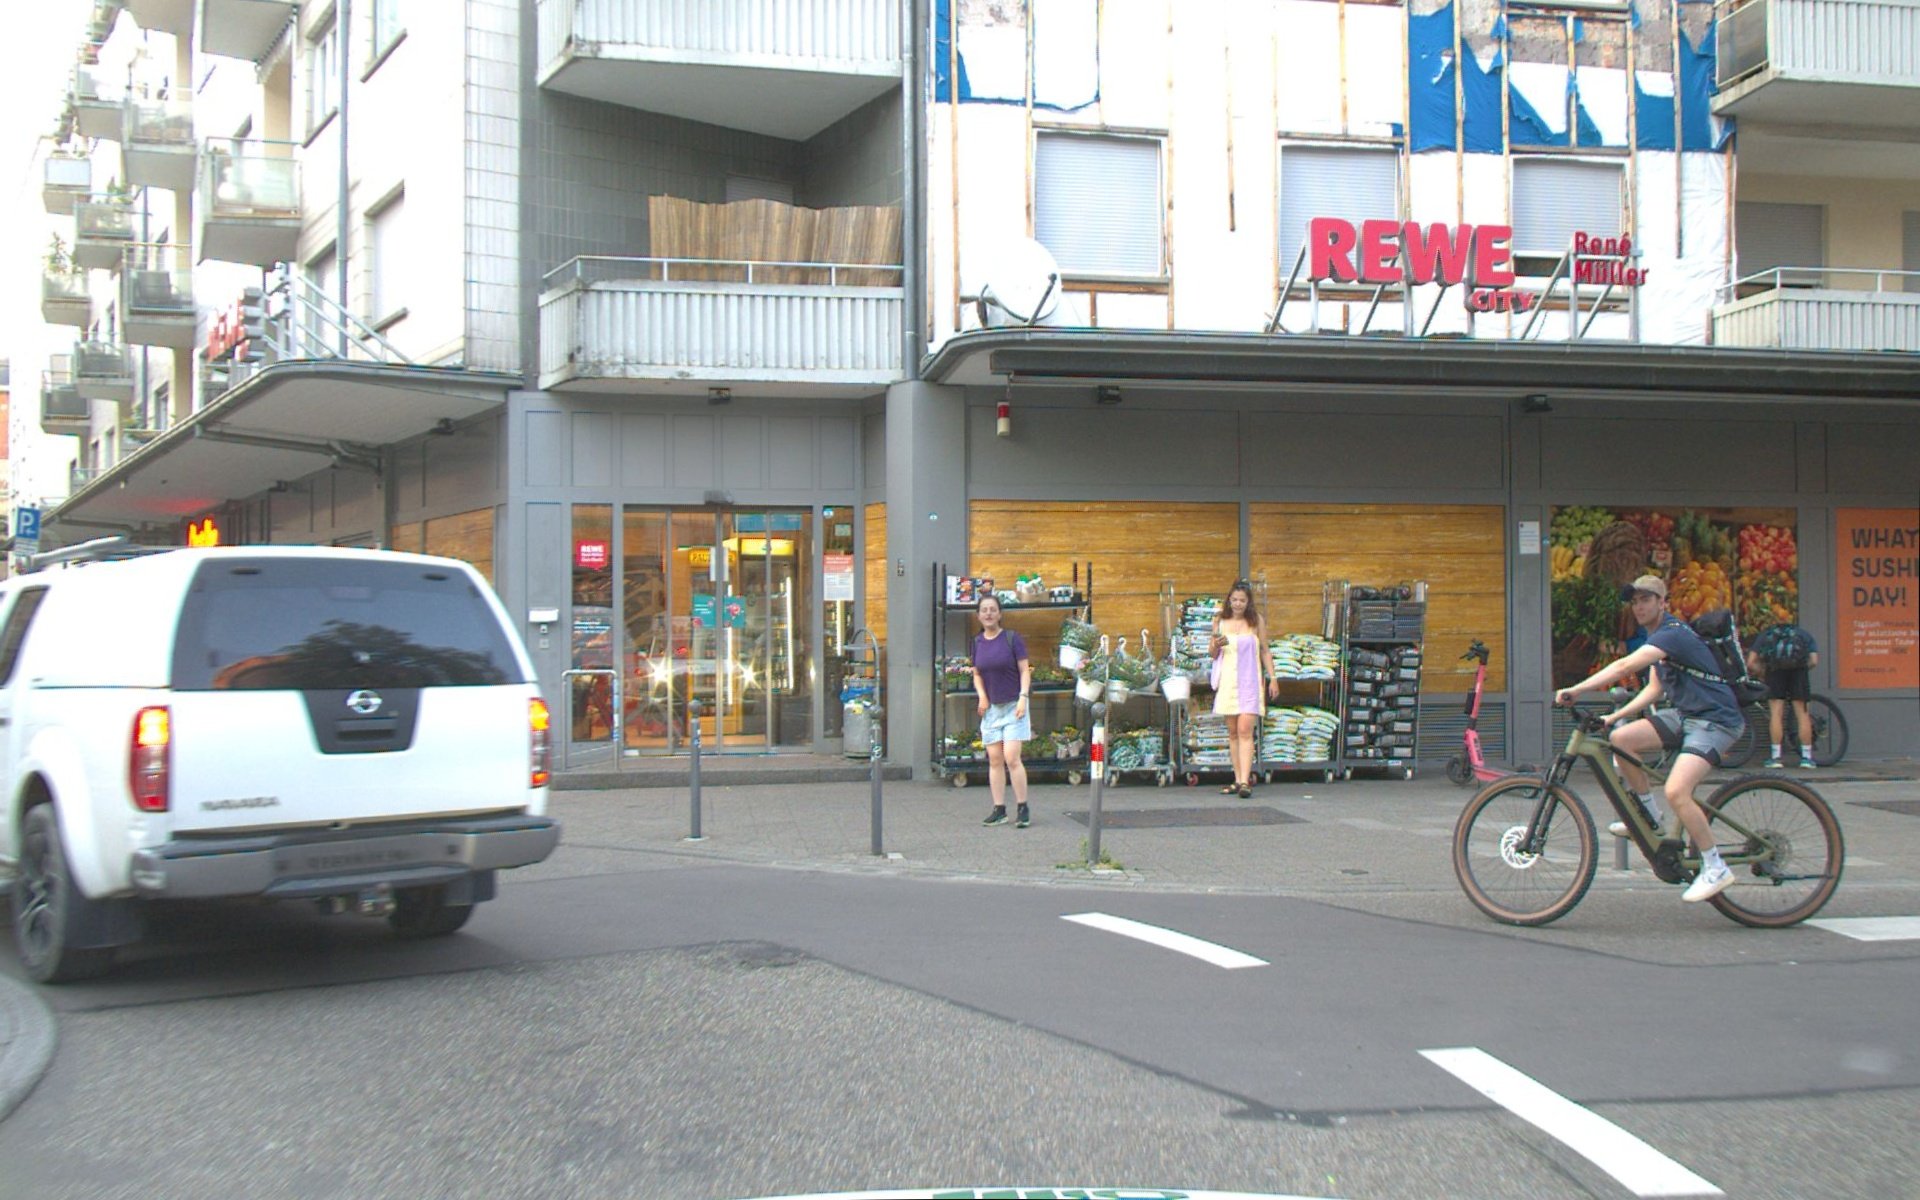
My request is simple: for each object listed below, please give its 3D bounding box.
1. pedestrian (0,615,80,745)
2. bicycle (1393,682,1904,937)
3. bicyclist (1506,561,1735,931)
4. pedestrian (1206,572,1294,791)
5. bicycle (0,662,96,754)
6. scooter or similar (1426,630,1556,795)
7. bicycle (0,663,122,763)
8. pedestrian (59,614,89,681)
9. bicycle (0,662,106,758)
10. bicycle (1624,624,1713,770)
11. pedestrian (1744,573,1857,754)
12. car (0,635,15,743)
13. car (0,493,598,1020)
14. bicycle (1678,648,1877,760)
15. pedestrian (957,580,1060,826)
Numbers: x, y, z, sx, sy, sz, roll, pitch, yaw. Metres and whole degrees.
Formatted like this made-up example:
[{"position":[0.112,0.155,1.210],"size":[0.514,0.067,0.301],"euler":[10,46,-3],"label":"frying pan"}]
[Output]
[{"position":[-12.172,1.054,21.903],"size":[0.688,1.693,0.720],"euler":[1,-2,-11],"label":"pedestrian"},{"position":[3.303,0.980,8.169],"size":[2.229,1.092,0.792],"euler":[0,-1,17],"label":"bicycle"},{"position":[3.235,0.680,8.197],"size":[0.973,1.718,0.792],"euler":[0,-1,16],"label":"bicyclist"},{"position":[2.388,0.670,13.694],"size":[0.650,1.756,0.722],"euler":[0,-2,5],"label":"pedestrian"},{"position":[-12.032,1.367,20.286],"size":[2.445,1.056,0.608],"euler":[-3,0,-39],"label":"bicycle"},{"position":[4.408,0.907,13.796],"size":[0.316,1.289,1.282],"euler":[1,0,-19],"label":"scooter or similar"},{"position":[-11.185,1.343,19.251],"size":[2.445,1.056,0.608],"euler":[-3,0,-39],"label":"bicycle"},{"position":[-24.577,1.335,45.891],"size":[0.626,1.843,0.481],"euler":[1,-3,-21],"label":"pedestrian"},{"position":[-11.637,1.350,19.755],"size":[2.445,1.056,0.608],"euler":[-3,0,-39],"label":"bicycle"},{"position":[6.341,0.850,14.862],"size":[0.340,1.224,1.810],"euler":[0,-2,11],"label":"bicycle"},{"position":[7.792,0.589,15.357],"size":[0.651,1.629,0.717],"euler":[1,-2,-4],"label":"pedestrian"},{"position":[-15.672,1.326,25.269],"size":[1.819,1.569,3.952],"euler":[2,-3,-34],"label":"car"},{"position":[-3.928,0.610,8.258],"size":[1.929,1.842,4.921],"euler":[1,-2,-43],"label":"car"},{"position":[7.814,0.991,15.811],"size":[1.842,1.045,0.377],"euler":[1,-2,-10],"label":"bicycle"},{"position":[0.348,0.718,11.725],"size":[0.696,1.681,0.718],"euler":[0,-2,2],"label":"pedestrian"}]
